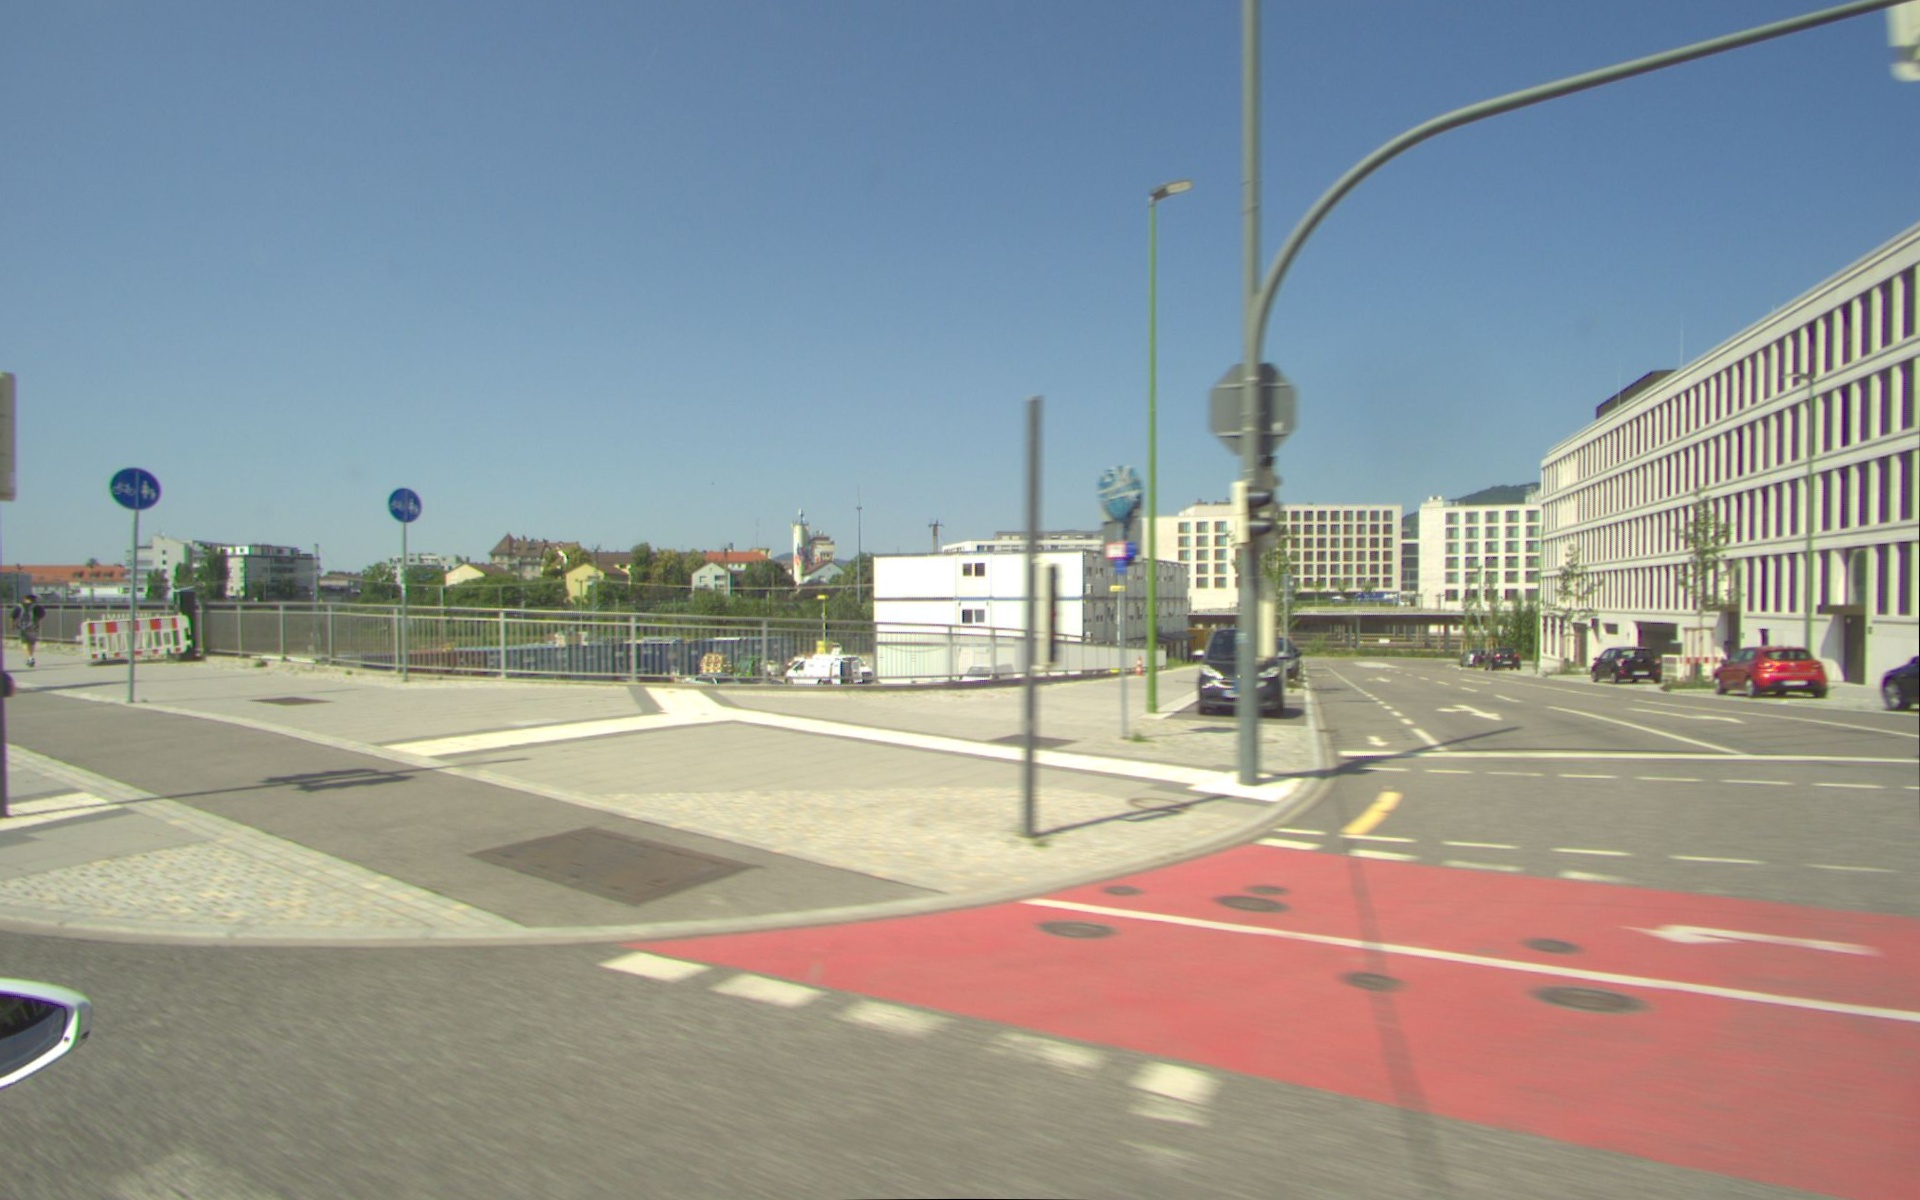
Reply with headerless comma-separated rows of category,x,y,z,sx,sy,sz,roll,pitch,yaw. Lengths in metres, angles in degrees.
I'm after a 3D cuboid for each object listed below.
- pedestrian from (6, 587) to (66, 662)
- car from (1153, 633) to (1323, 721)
pedestrian,-20.927,0.542,22.680,0.936,1.631,0.748,1,3,36
car,5.094,1.372,18.766,1.433,1.482,3.363,0,-2,-18
